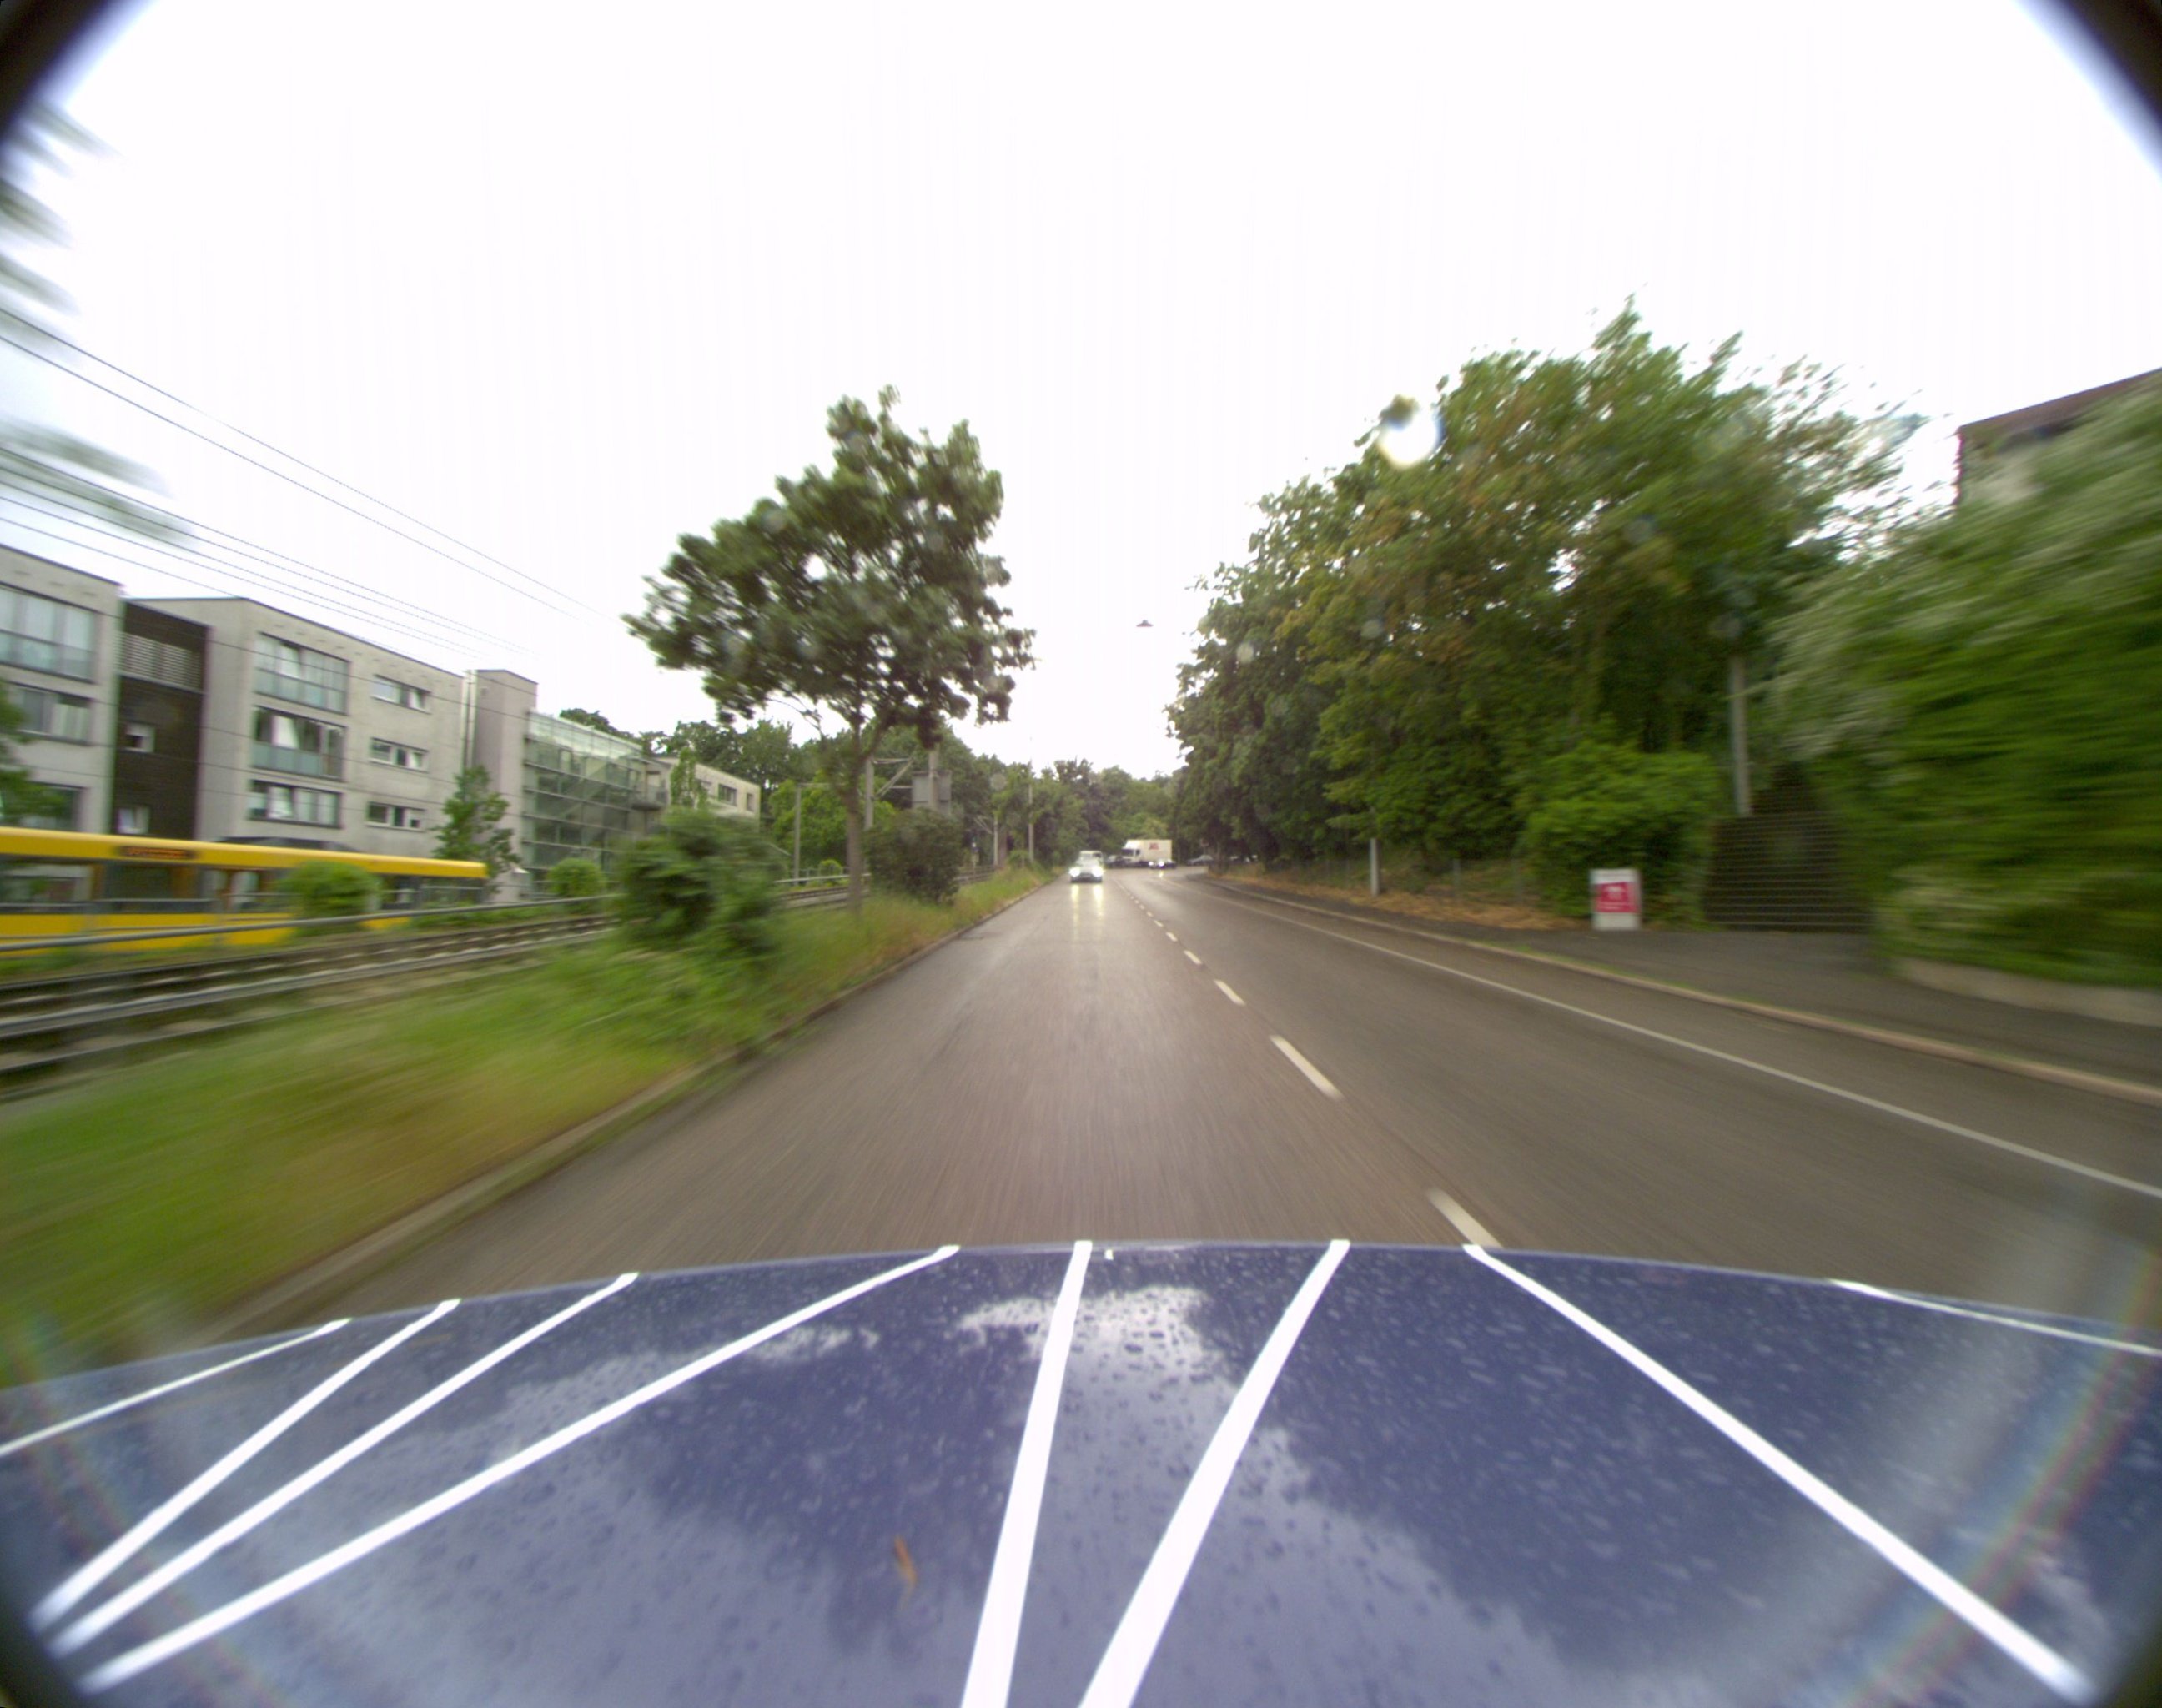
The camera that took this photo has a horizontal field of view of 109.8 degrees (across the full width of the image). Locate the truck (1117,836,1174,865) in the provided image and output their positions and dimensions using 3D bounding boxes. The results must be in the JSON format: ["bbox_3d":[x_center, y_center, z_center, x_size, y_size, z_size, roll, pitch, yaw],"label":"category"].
[{"bbox_3d":[8.176,-0.474,95.171,3.008,3.553,8.353,0,1,39],"label":"truck"}]

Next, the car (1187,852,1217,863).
[{"bbox_3d":[16.430,0.424,103.267,4.133,1.435,1.721,-1,0,-38],"label":"car"}]

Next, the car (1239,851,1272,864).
[{"bbox_3d":[20.901,0.354,90.935,4.055,1.448,1.752,-2,2,-41],"label":"car"}]

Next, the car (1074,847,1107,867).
[{"bbox_3d":[1.089,0.314,82.146,1.878,2.002,4.699,2,1,23],"label":"car"}]

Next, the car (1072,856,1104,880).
[{"bbox_3d":[0.501,0.890,49.826,1.898,1.530,4.501,0,0,3],"label":"car"}]

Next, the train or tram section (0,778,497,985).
[{"bbox_3d":[-22.161,0.537,16.804,3.339,3.924,19.281,-1,0,1],"label":"train or tram section"}]

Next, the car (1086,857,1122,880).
[{"bbox_3d":[1.822,1.050,58.009,1.996,1.660,4.534,0,0,12],"label":"car"}]

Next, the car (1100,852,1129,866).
[{"bbox_3d":[3.945,0.573,88.691,1.719,1.547,4.285,2,1,28],"label":"car"}]
